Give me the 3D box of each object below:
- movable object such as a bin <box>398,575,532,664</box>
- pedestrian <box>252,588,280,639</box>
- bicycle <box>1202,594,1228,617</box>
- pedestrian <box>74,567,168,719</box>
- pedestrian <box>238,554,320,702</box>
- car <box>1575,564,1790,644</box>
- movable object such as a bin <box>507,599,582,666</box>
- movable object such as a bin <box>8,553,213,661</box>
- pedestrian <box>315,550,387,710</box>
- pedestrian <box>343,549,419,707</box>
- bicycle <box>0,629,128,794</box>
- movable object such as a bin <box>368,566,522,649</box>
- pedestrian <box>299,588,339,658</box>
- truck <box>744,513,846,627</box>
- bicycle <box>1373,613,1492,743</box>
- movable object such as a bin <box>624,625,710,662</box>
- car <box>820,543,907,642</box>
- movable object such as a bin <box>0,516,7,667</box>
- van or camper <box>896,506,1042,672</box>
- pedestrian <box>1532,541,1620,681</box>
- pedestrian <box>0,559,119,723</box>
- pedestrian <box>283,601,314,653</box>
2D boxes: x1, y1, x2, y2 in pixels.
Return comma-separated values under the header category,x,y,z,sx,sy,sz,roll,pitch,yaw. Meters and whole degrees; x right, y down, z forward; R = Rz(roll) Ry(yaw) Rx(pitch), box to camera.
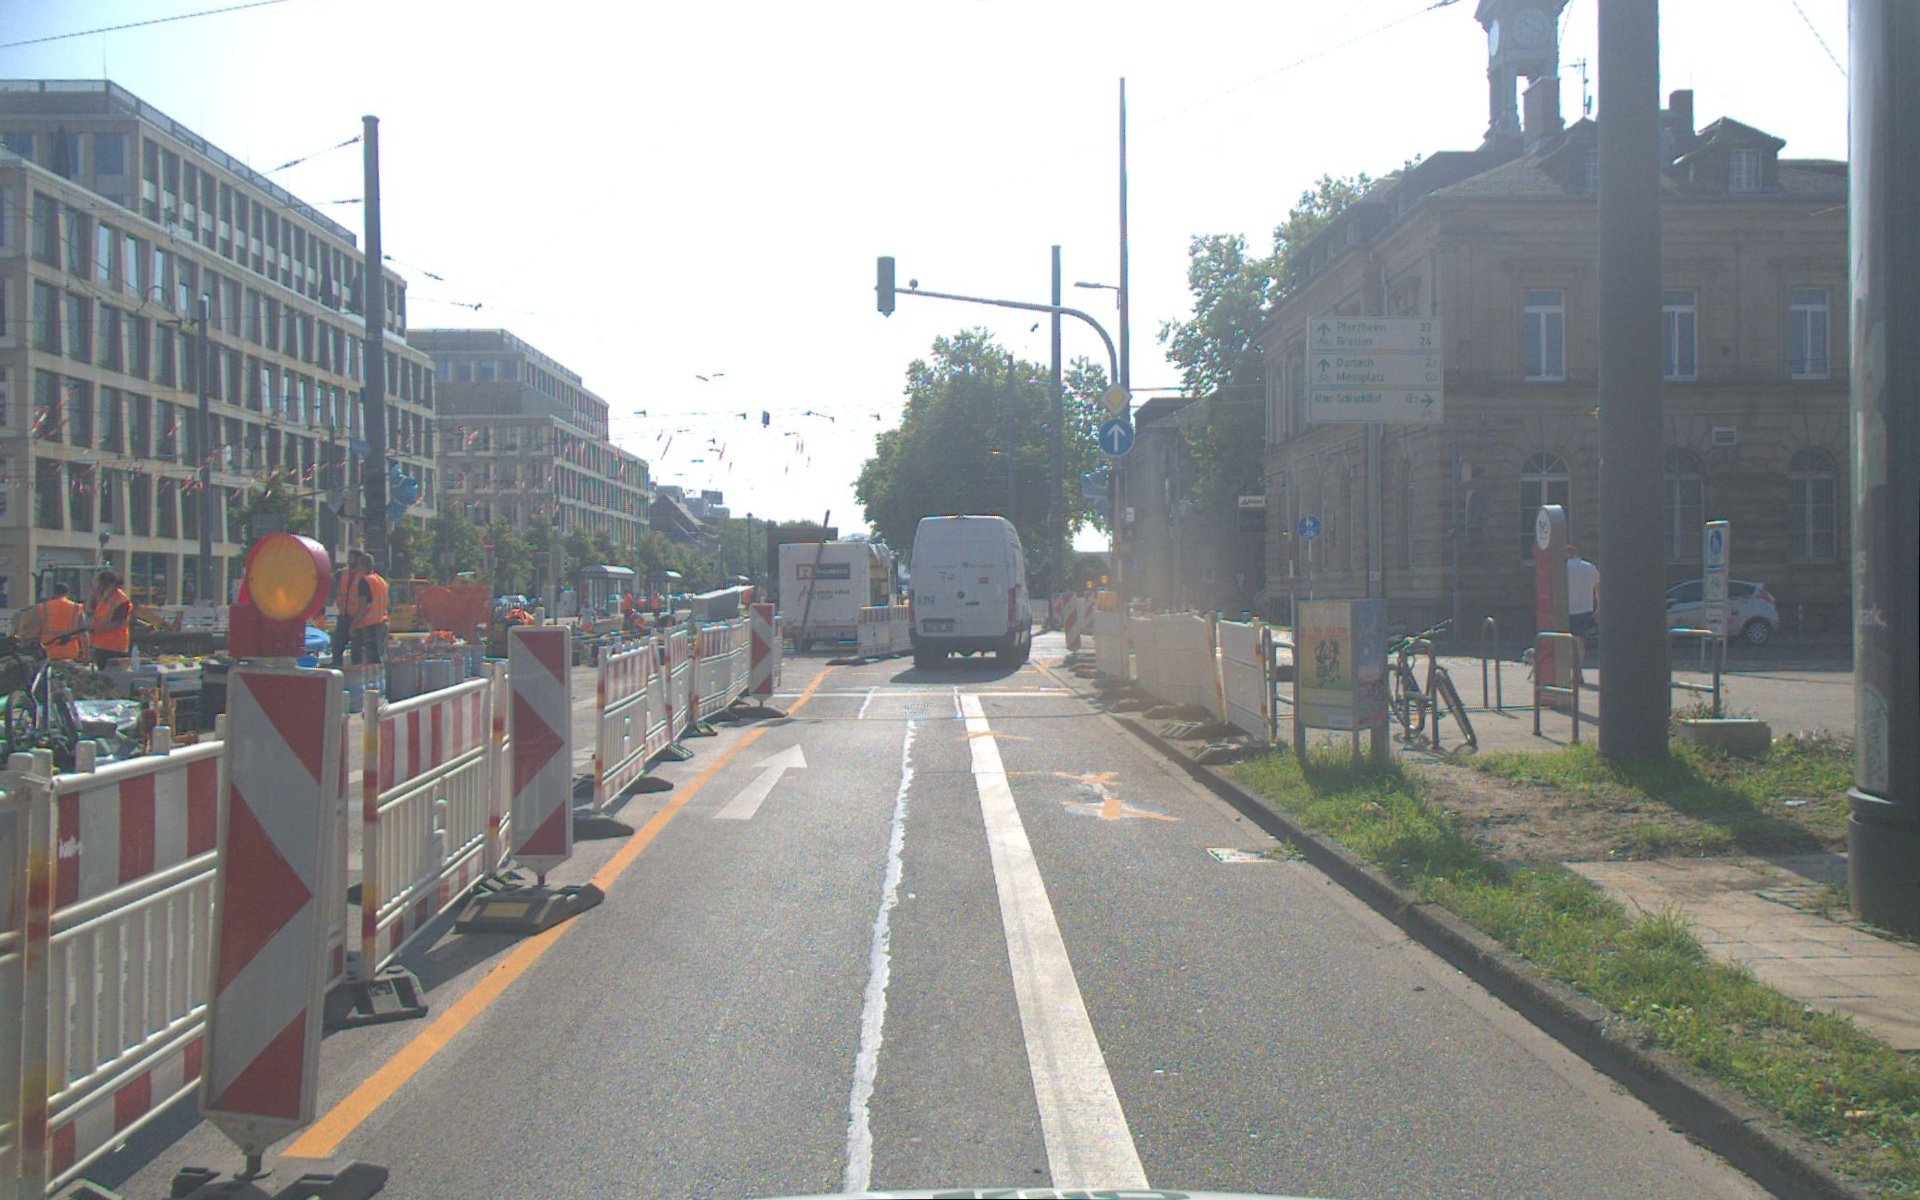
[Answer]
category,x,y,z,sx,sy,sz,roll,pitch,yaw
movable object such as a bin,-9.474,0.357,31.885,1.567,1.586,3.286,-1,0,0
pedestrian,-26.104,0.509,62.219,0.739,1.897,0.809,0,0,-6
bicycle,12.602,0.265,81.860,0.484,1.017,1.808,-1,3,-20
pedestrian,-10.483,0.524,20.662,0.741,1.841,0.824,-2,0,44
pedestrian,-8.992,0.364,21.846,0.704,1.903,0.709,-1,0,7
car,15.618,0.085,35.910,3.915,1.563,1.666,-2,0,4
movable object such as a bin,-8.067,0.608,32.187,0.868,1.232,2.212,-1,0,0
movable object such as a bin,-23.896,0.163,46.604,4.769,2.884,2.415,-1,0,-39
pedestrian,-7.995,0.388,21.706,0.690,2.050,0.665,-1,0,-38
pedestrian,-7.379,0.345,21.078,0.707,1.960,0.675,-1,0,-38
bicycle,-6.776,0.778,12.246,0.552,1.118,1.962,1,-1,-11
movable object such as a bin,-20.154,0.339,65.389,3.540,3.009,8.474,1,-1,-1
pedestrian,-18.070,0.636,46.627,0.769,1.946,0.723,-1,0,7
truck,-6.340,-1.112,62.467,2.744,3.981,8.390,1,0,-13
bicycle,4.033,0.638,14.215,0.527,1.024,1.571,-2,0,-1
movable object such as a bin,-6.000,0.890,33.859,1.687,0.726,0.716,-1,0,32
car,-2.567,-0.187,45.677,2.163,2.466,7.197,-1,0,-2
movable object such as a bin,-32.222,-0.210,47.211,7.200,4.423,4.973,-1,-1,12
van or camper,0.276,-0.235,30.942,2.071,2.728,5.254,-3,1,6
pedestrian,7.952,0.140,21.382,0.849,1.767,0.671,-1,0,-2
pedestrian,-10.480,0.470,19.254,0.810,1.848,0.885,-1,0,14
pedestrian,-24.478,0.984,61.199,0.907,1.897,0.808,0,0,-12
